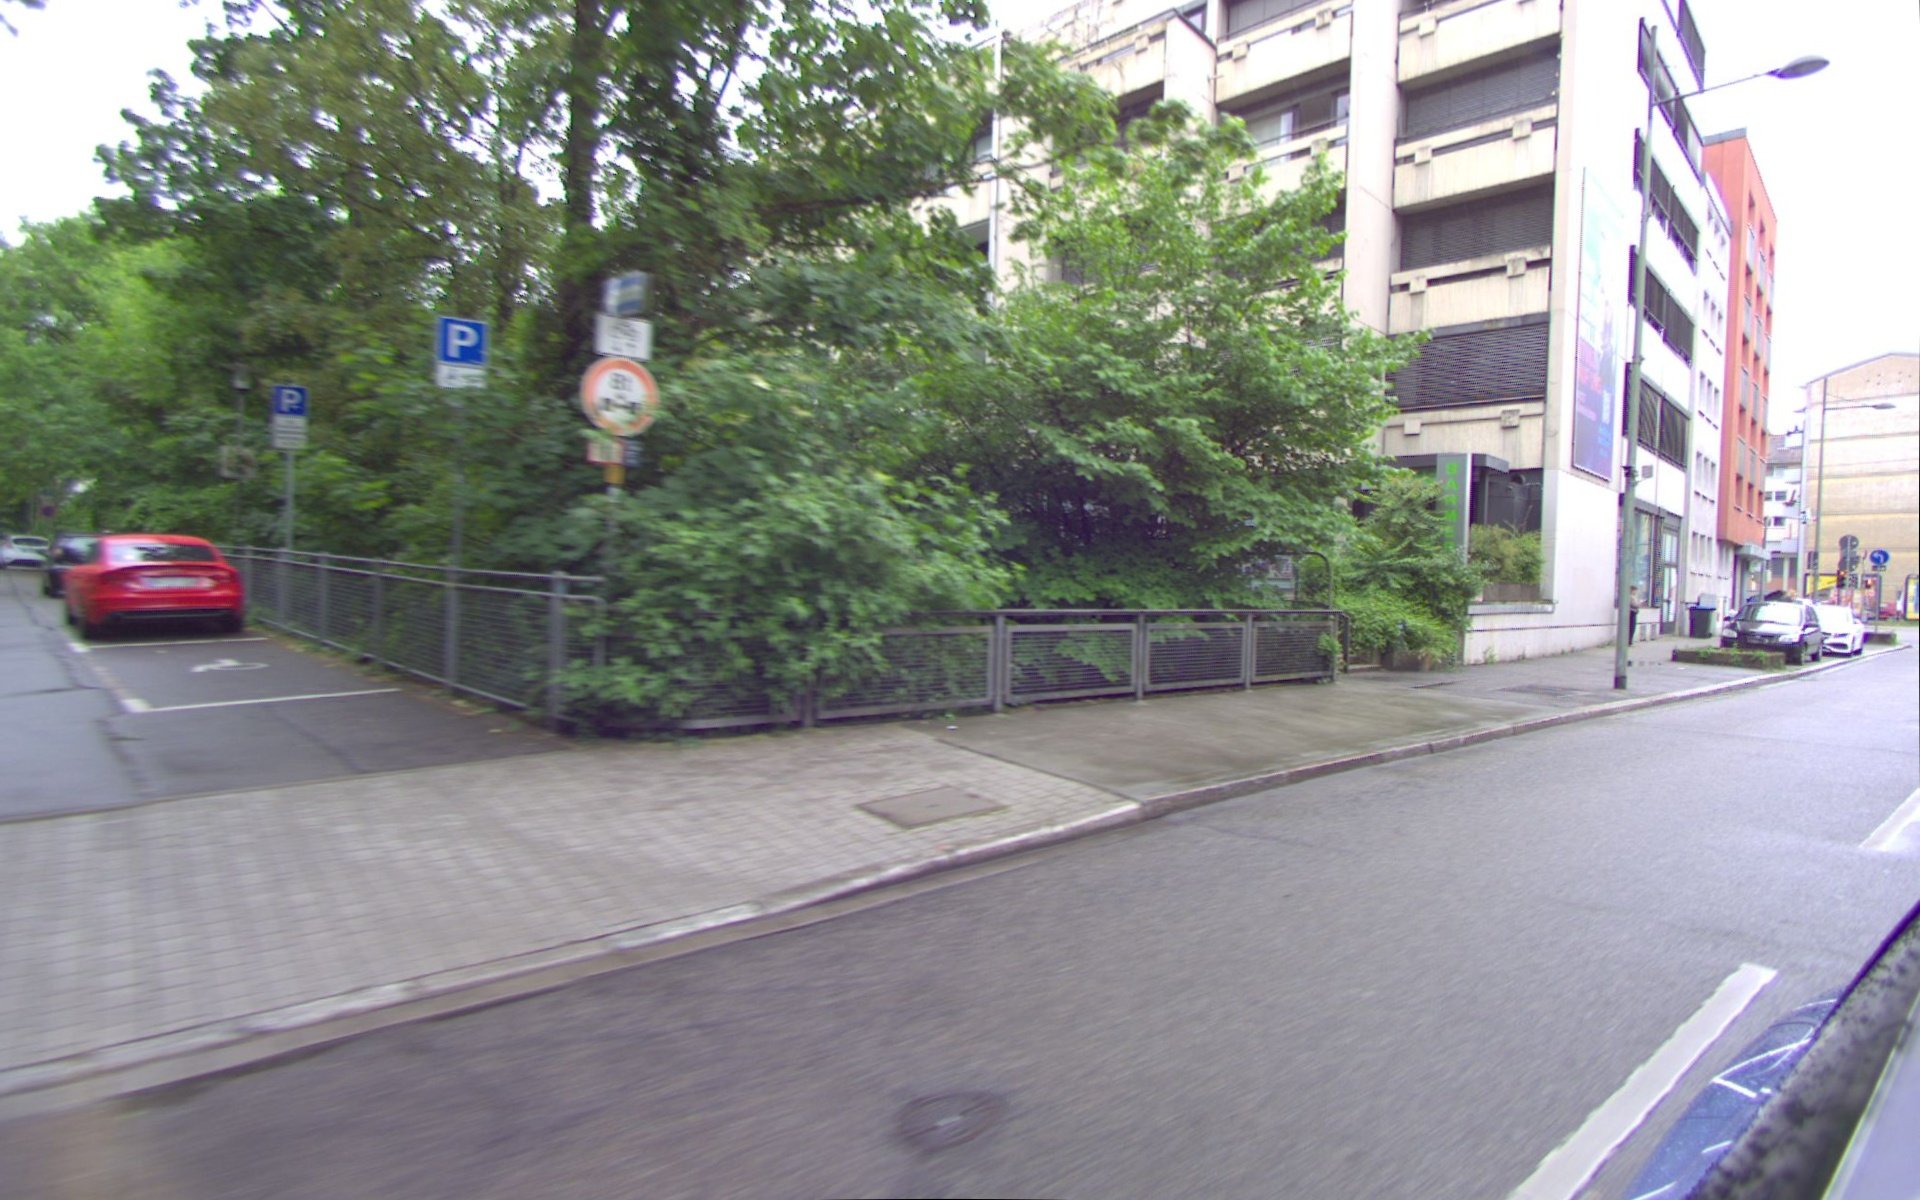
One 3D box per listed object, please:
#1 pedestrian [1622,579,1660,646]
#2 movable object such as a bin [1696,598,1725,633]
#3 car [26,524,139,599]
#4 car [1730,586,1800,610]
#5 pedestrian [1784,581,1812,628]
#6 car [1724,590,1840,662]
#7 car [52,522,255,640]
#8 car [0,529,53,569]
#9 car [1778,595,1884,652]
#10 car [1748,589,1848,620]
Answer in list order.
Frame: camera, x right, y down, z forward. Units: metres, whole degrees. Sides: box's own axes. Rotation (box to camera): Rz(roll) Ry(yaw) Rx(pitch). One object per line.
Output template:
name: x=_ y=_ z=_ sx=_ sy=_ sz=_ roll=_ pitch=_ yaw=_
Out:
pedestrian: x=17.781 y=0.311 z=26.418 sx=0.598 sy=1.679 sz=0.681 roll=6 pitch=4 yaw=42
movable object such as a bin: x=25.025 y=0.503 z=33.755 sx=0.505 sy=1.117 sz=0.680 roll=1 pitch=1 yaw=-43
car: x=-20.403 y=-0.928 z=23.470 sx=1.707 sy=1.590 sz=3.924 roll=0 pitch=3 yaw=-45
car: x=62.369 y=-0.153 z=78.470 sx=1.801 sy=1.732 sz=3.800 roll=1 pitch=1 yaw=-22
pedestrian: x=39.537 y=0.214 z=47.744 sx=0.797 sy=2.180 sz=0.732 roll=2 pitch=1 yaw=25
car: x=20.677 y=0.604 z=25.409 sx=3.741 sy=1.577 sz=1.705 roll=0 pitch=3 yaw=-43
car: x=-11.972 y=-0.364 z=14.936 sx=3.989 sy=1.499 sz=1.847 roll=4 pitch=4 yaw=44
car: x=-39.830 y=-2.171 z=42.950 sx=3.922 sy=1.590 sz=1.708 roll=4 pitch=3 yaw=44
car: x=25.501 y=0.634 z=29.569 sx=4.493 sy=1.437 sz=1.833 roll=0 pitch=3 yaw=-43
car: x=48.416 y=0.237 z=58.546 sx=1.798 sy=1.641 sz=4.009 roll=1 pitch=1 yaw=-23
